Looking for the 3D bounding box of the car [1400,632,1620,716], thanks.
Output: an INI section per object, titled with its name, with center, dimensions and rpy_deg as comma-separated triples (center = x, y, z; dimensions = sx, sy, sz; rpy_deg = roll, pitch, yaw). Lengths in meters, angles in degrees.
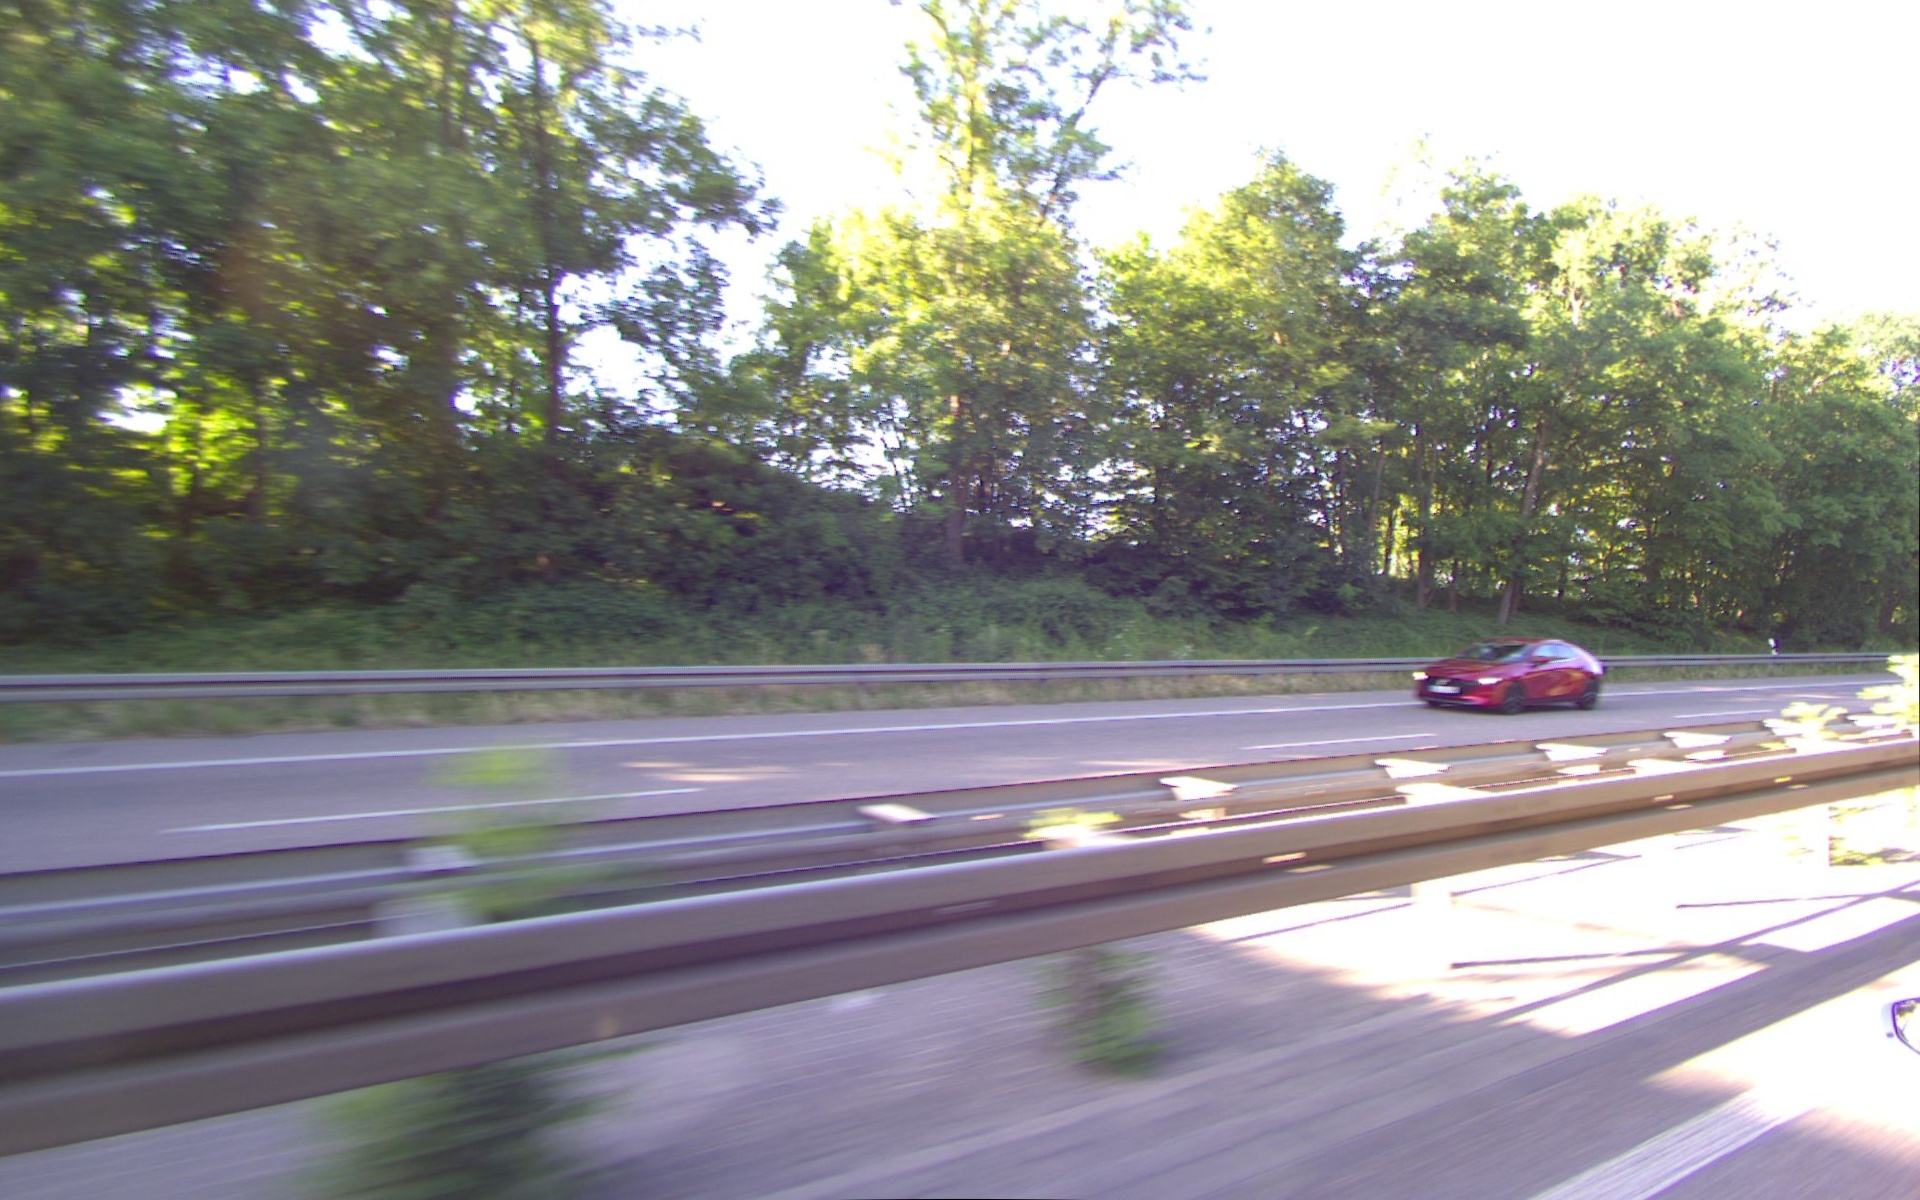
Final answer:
[car]
center = 11.258, 1.427, 20.494
dimensions = 4.531, 1.469, 1.950
rpy_deg = 1, 0, -31
